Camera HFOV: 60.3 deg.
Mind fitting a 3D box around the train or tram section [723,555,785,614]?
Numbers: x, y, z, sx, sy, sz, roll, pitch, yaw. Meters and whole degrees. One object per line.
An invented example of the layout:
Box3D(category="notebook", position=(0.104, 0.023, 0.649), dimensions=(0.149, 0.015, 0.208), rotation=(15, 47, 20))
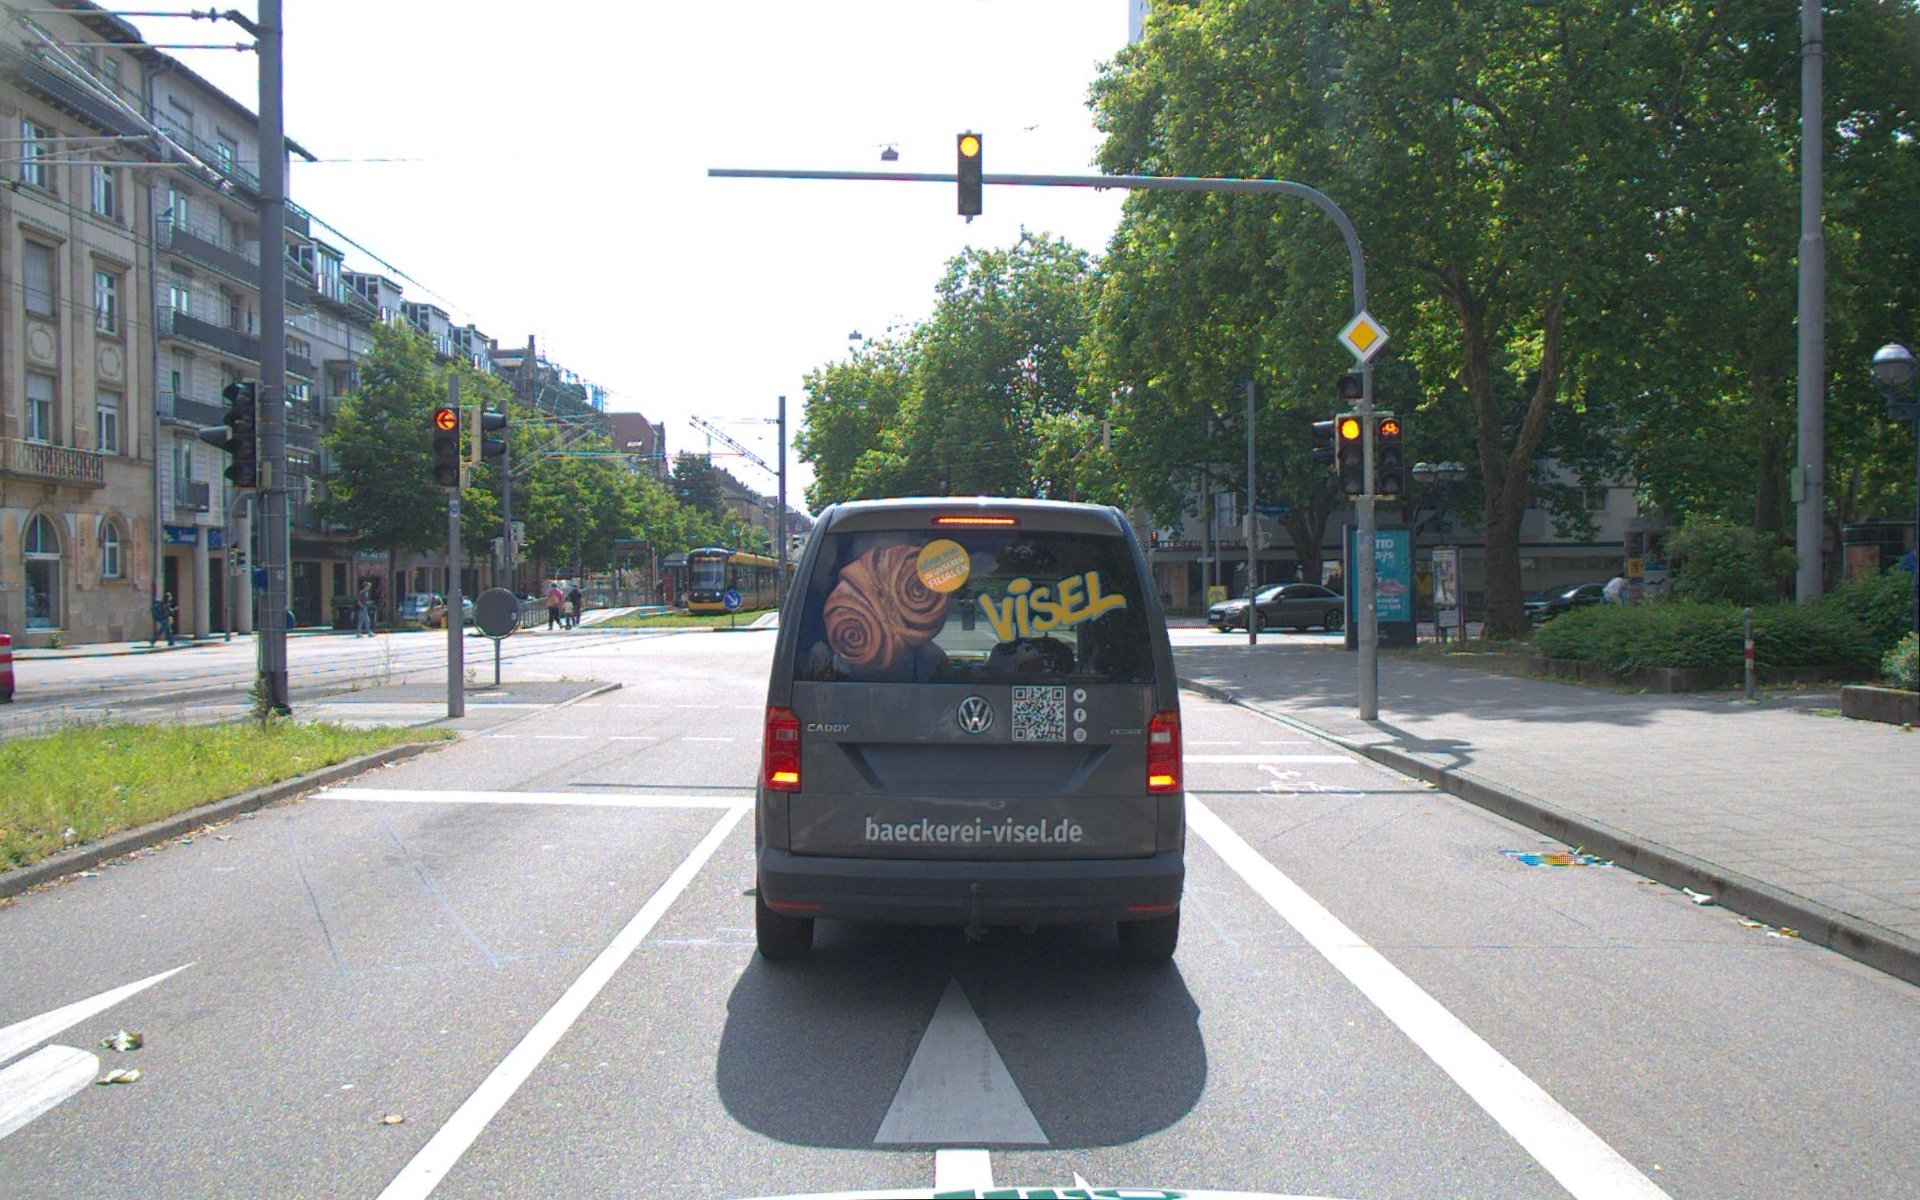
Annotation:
Box3D(category="train or tram section", position=(-12.716, -0.995, 103.145), dimensions=(2.195, 3.389, 14.012), rotation=(-1, 1, 0))

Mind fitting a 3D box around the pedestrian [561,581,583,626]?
Box3D(category="pedestrian", position=(-14.833, 0.122, 63.197), dimensions=(0.646, 1.714, 0.655), rotation=(-1, 0, -1))

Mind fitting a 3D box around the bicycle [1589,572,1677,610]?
Box3D(category="bicycle", position=(19.786, -0.260, 48.621), dimensions=(2.258, 1.066, 0.895), rotation=(-1, 1, -7))

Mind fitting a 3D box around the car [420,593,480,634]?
Box3D(category="car", position=(-26.971, 0.698, 87.653), dimensions=(1.953, 2.049, 4.000), rotation=(-1, 0, -1))

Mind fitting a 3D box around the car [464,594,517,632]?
Box3D(category="car", position=(-27.267, 0.734, 96.156), dimensions=(1.953, 2.049, 4.000), rotation=(-1, 0, -1))

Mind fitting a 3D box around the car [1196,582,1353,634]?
Box3D(category="car", position=(9.329, 0.223, 49.053), dimensions=(4.423, 1.414, 1.693), rotation=(-1, 0, -25))

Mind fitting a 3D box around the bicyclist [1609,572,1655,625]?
Box3D(category="bicyclist", position=(19.736, -0.048, 48.585), dimensions=(0.978, 1.538, 0.780), rotation=(-1, 0, -5))

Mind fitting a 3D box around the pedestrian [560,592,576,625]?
Box3D(category="pedestrian", position=(-13.916, 0.309, 58.675), dimensions=(0.454, 1.164, 0.435), rotation=(-1, 0, -1))

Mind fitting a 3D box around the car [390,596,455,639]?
Box3D(category="car", position=(-26.906, 0.863, 82.935), dimensions=(1.953, 2.049, 4.000), rotation=(-1, 0, -1))

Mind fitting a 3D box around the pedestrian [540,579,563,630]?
Box3D(category="pedestrian", position=(-14.487, 0.155, 58.677), dimensions=(0.646, 1.815, 0.660), rotation=(-1, 0, -1))

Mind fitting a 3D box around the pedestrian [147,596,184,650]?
Box3D(category="pedestrian", position=(-24.444, 0.695, 50.884), dimensions=(0.854, 1.623, 0.683), rotation=(-1, 0, -42))

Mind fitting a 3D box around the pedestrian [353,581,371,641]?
Box3D(category="pedestrian", position=(-20.772, 0.383, 57.434), dimensions=(0.468, 2.049, 0.419), rotation=(-1, 0, -6))

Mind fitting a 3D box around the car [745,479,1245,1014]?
Box3D(category="car", position=(0.109, 0.492, 7.469), dimensions=(1.715, 1.840, 3.474), rotation=(1, 1, -1))

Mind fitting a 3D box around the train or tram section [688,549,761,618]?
Box3D(category="train or tram section", position=(-12.624, -0.902, 89.704), dimensions=(2.195, 3.389, 12.970), rotation=(-1, 1, 0))
